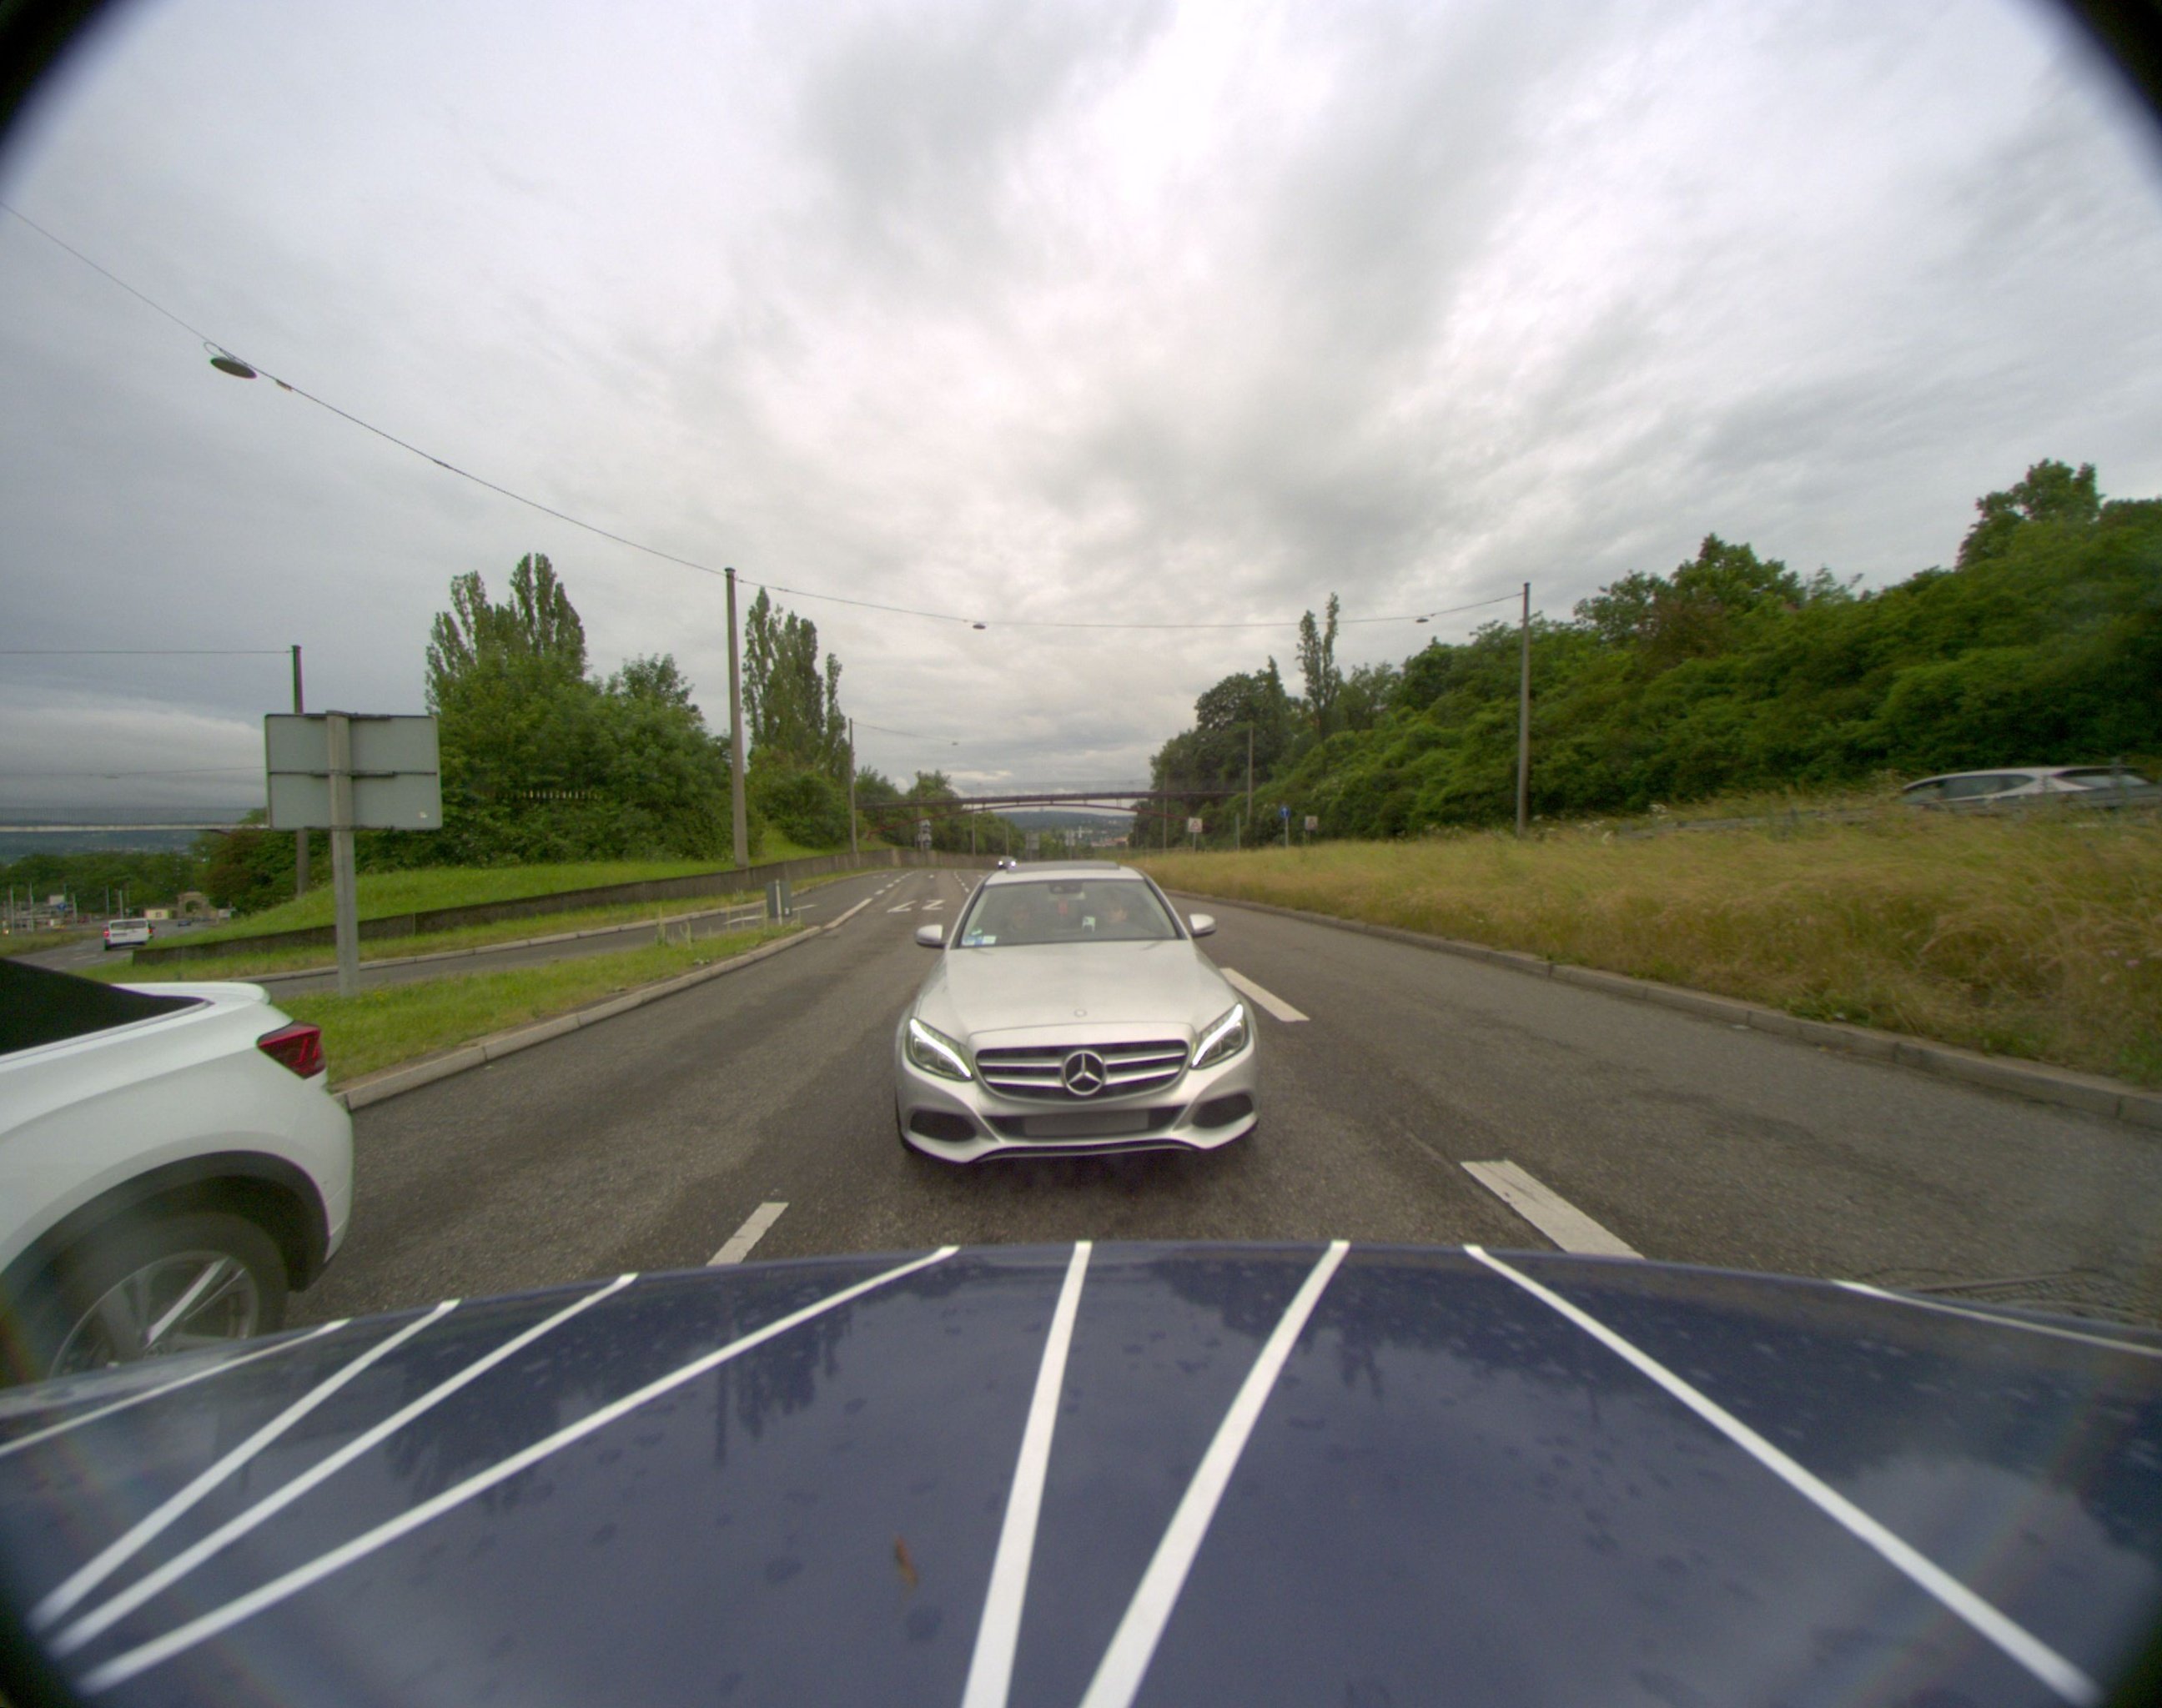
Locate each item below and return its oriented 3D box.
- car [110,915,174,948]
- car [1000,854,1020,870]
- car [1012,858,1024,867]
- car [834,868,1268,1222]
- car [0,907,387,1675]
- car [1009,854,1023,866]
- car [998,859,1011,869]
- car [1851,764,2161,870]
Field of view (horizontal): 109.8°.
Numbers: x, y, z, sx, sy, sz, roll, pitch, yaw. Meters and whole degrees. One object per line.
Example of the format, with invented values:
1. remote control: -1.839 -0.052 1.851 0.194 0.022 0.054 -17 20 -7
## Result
1. car: -59.685 4.920 48.272 4.811 1.837 2.003 -4 1 34
2. car: -8.078 0.880 87.024 1.911 1.668 3.999 -4 0 -1
3. car: -12.747 1.768 153.249 1.999 1.652 3.999 -4 0 -2
4. car: 0.023 0.892 5.417 1.894 1.361 4.135 -1 1 5
5. car: -3.115 1.025 0.371 1.718 1.544 4.227 -2 1 -3
6. car: -10.056 0.981 117.511 1.912 1.668 3.998 -5 0 -5
7. car: -13.948 1.880 138.593 1.999 1.652 3.999 -5 0 -2
8. car: 15.588 -0.527 12.688 1.740 1.508 3.677 0 0 1
